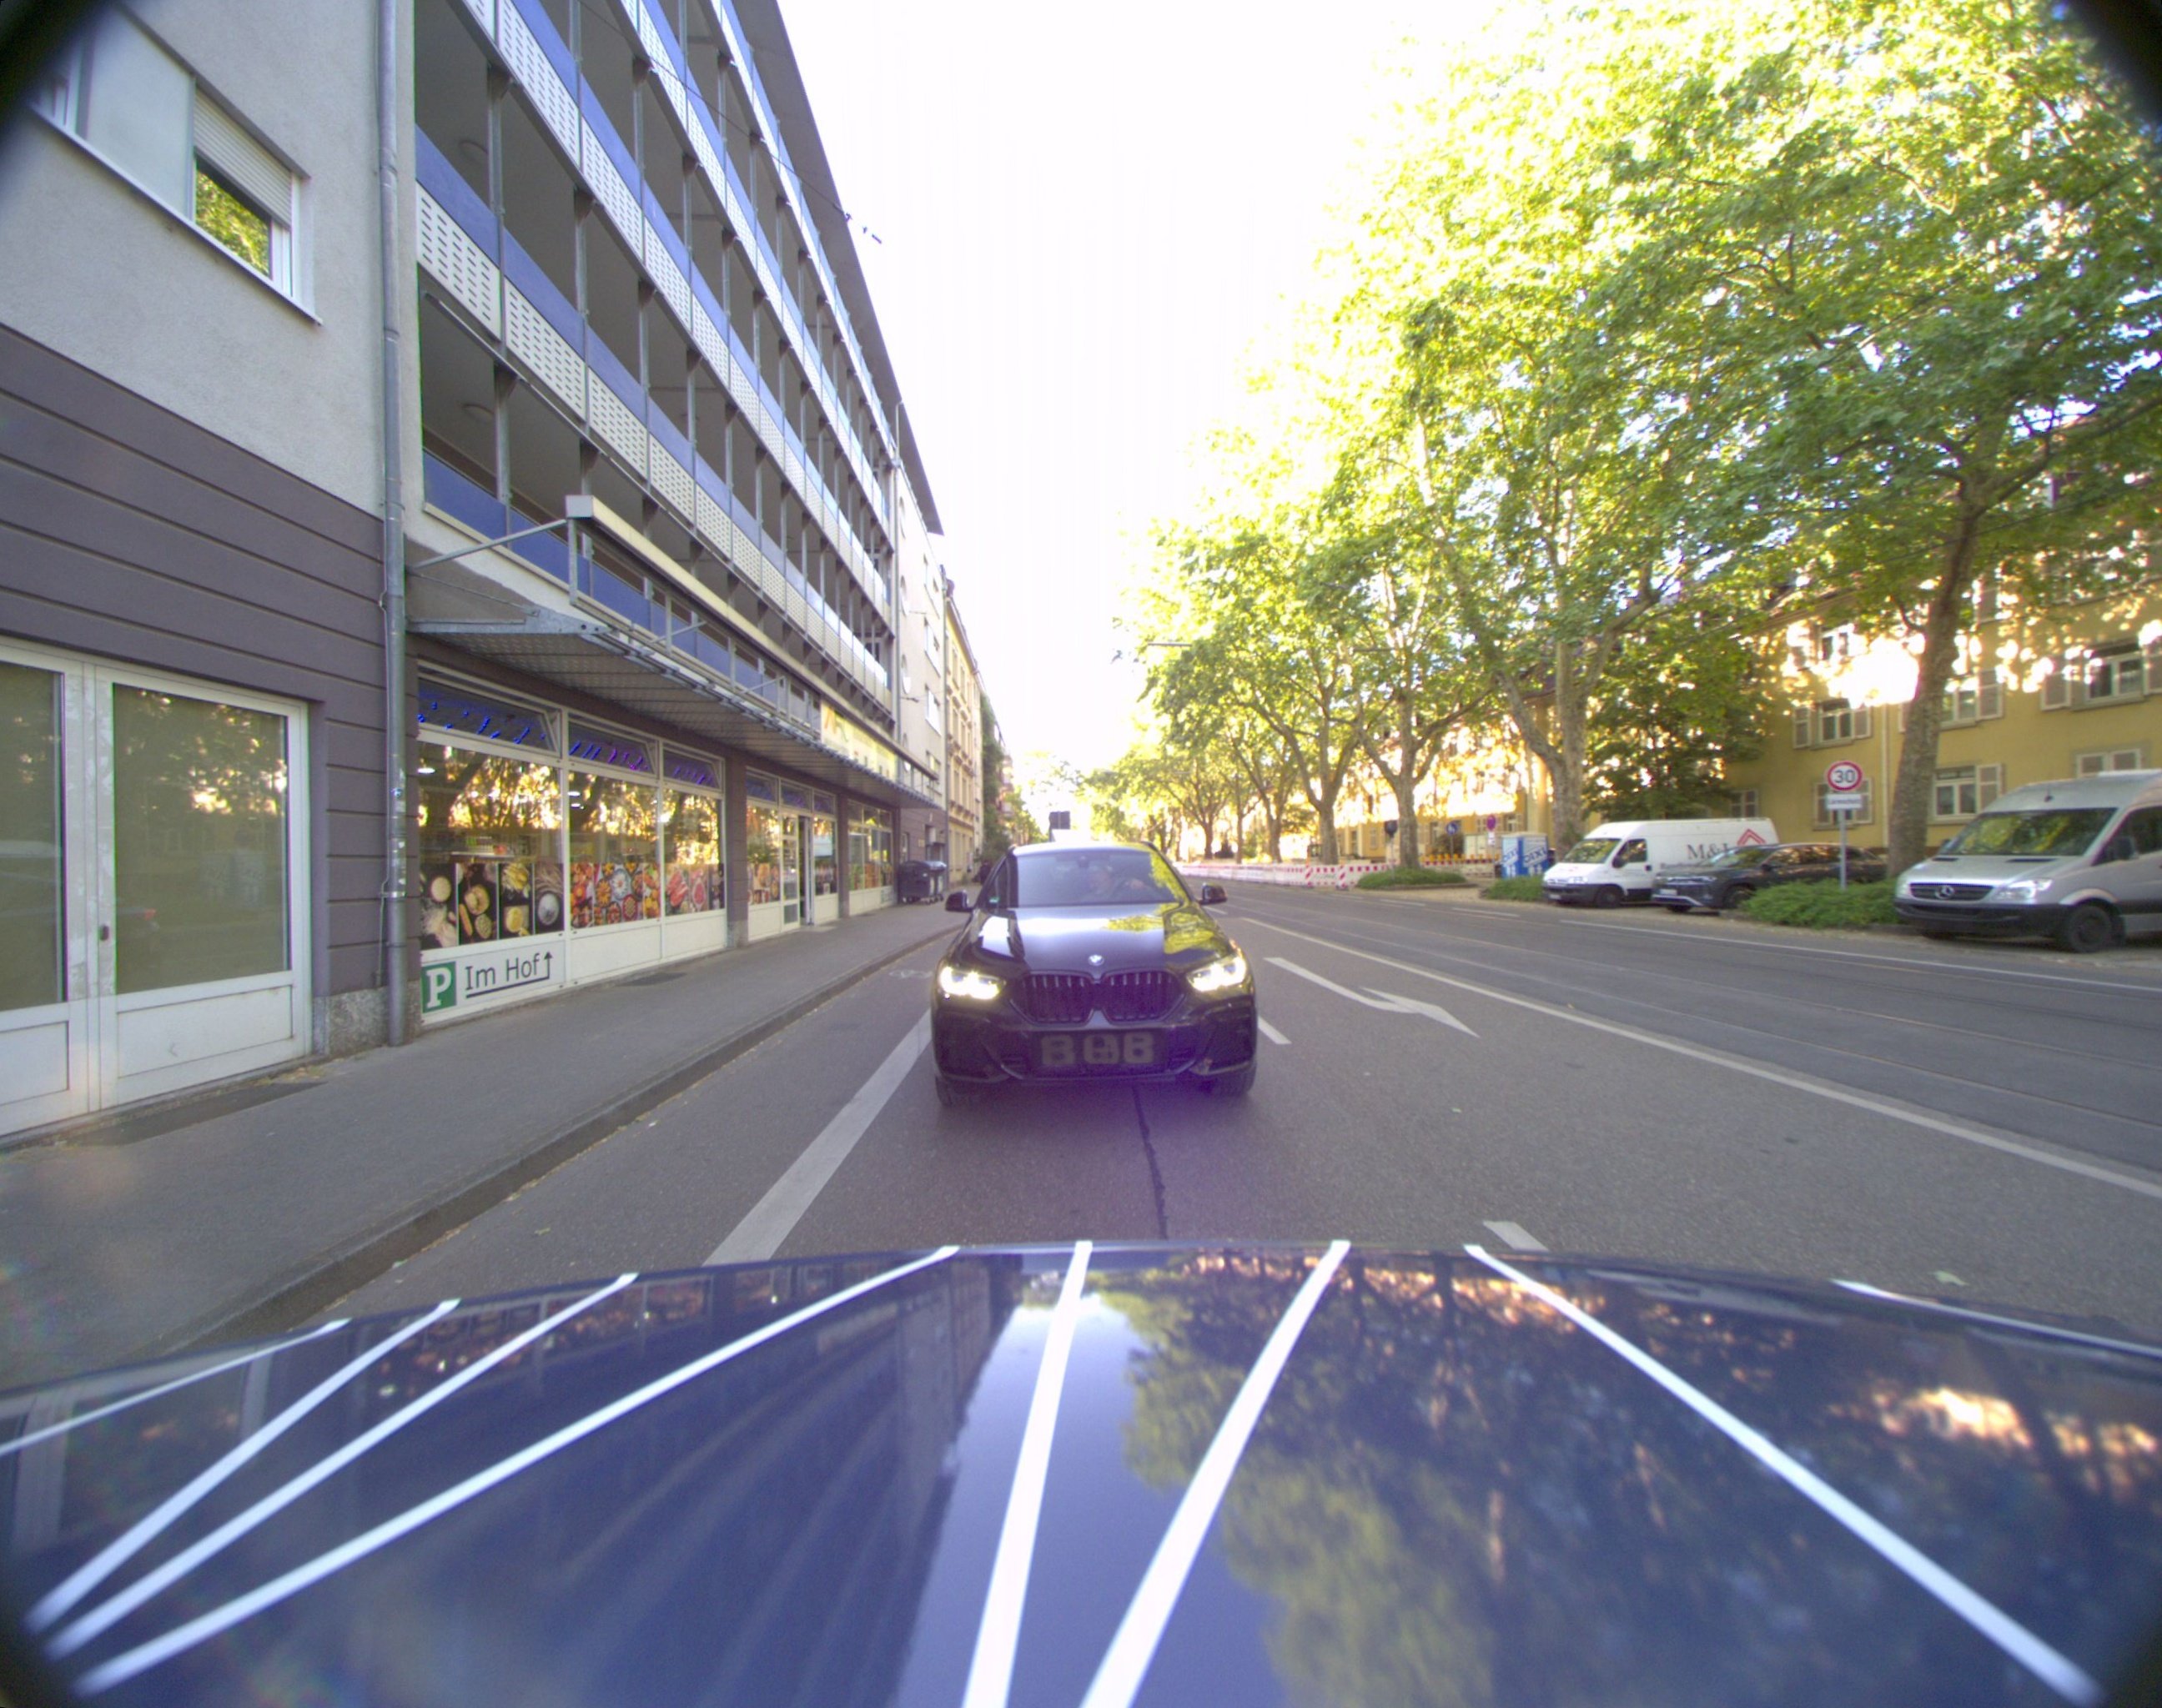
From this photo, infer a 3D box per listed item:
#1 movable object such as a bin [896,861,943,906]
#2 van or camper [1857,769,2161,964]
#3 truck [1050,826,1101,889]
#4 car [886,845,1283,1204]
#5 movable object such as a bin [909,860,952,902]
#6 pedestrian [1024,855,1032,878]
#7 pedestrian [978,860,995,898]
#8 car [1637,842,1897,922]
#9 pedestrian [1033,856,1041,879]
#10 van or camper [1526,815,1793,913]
[{"bbox_3d":[-5.263,0.949,24.842,1.203,1.402,1.372,-1,0,1],"label":"movable object such as a bin"},{"bbox_3d":[16.000,0.091,11.674,5.931,2.633,2.156,-2,1,0],"label":"van or camper"},{"bbox_3d":[-0.378,0.142,41.260,2.344,3.095,5.210,-2,1,-4],"label":"truck"},{"bbox_3d":[0.062,0.838,6.160,1.930,1.742,4.683,-2,1,1],"label":"car"},{"bbox_3d":[-5.289,0.927,26.767,1.203,1.402,1.372,-1,0,1],"label":"movable object such as a bin"},{"bbox_3d":[-3.845,0.873,55.204,0.541,1.662,0.513,-1,0,1],"label":"pedestrian"},{"bbox_3d":[-3.637,0.968,29.282,0.541,1.437,0.630,-1,0,1],"label":"pedestrian"},{"bbox_3d":[15.989,0.610,17.869,4.540,1.624,1.693,-2,1,1],"label":"car"},{"bbox_3d":[-3.167,0.946,54.901,0.541,1.662,0.630,-1,0,1],"label":"pedestrian"},{"bbox_3d":[15.867,0.248,21.080,5.763,2.371,2.156,-2,1,0],"label":"van or camper"}]
